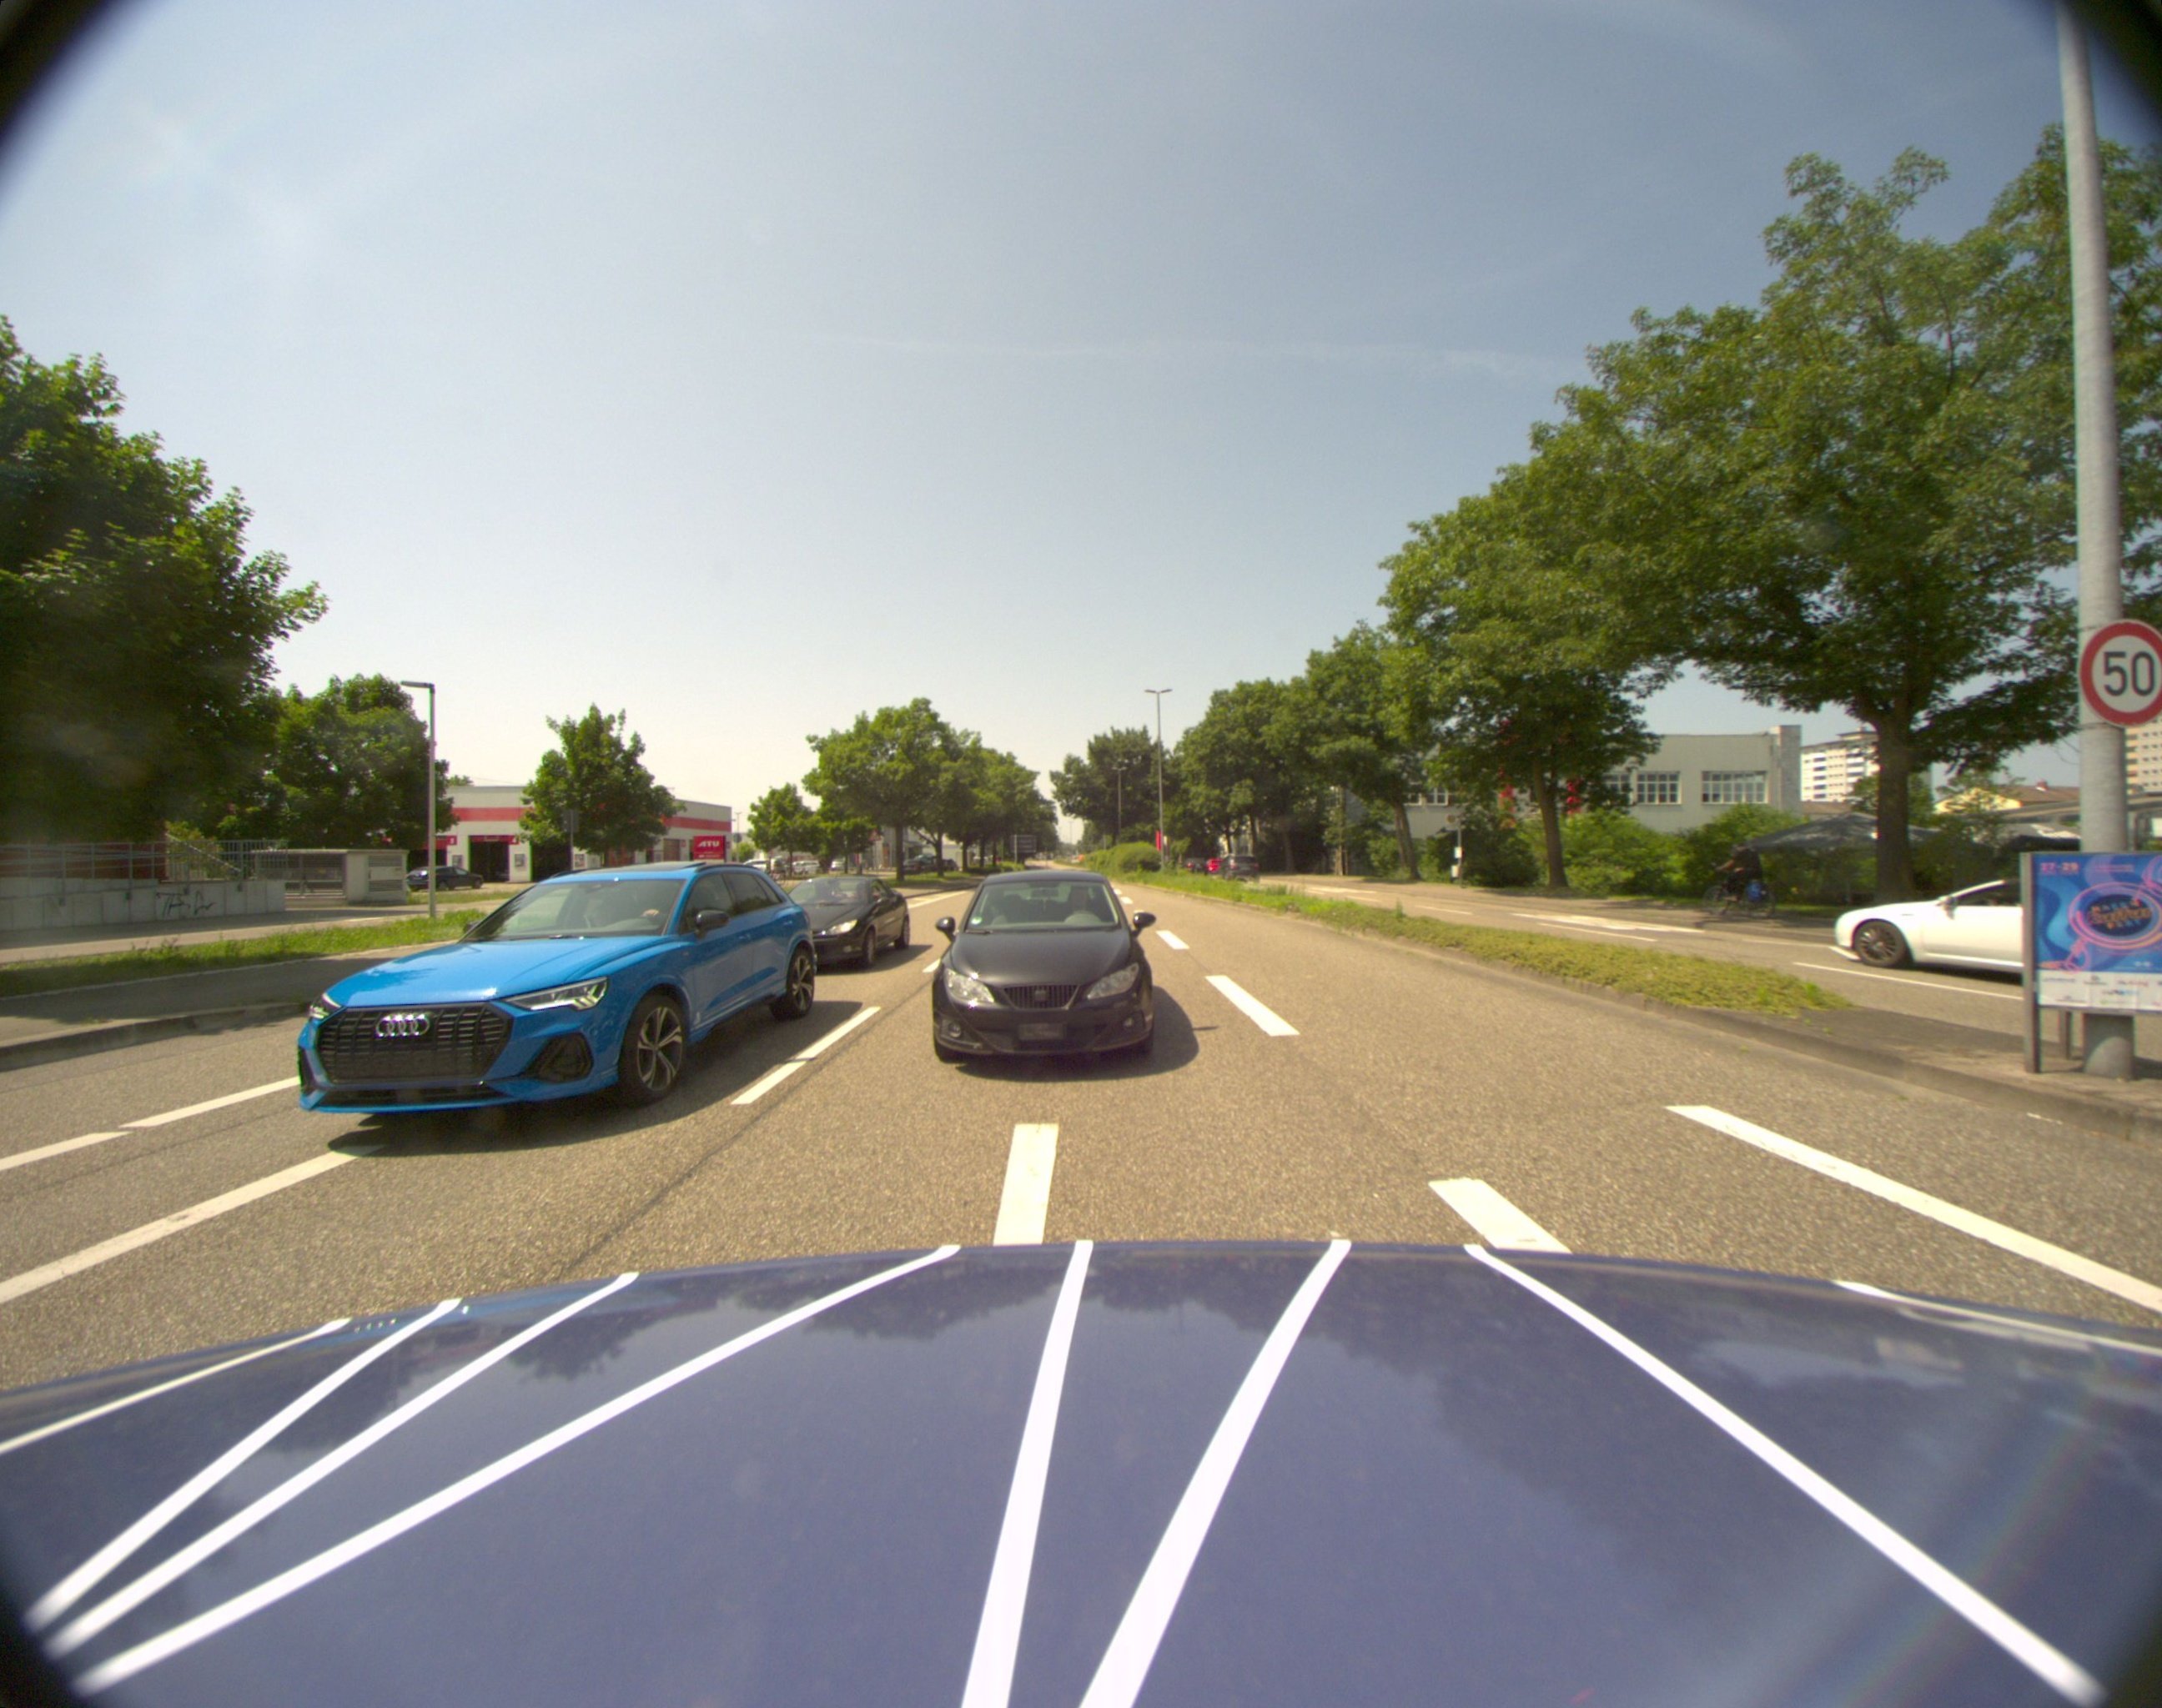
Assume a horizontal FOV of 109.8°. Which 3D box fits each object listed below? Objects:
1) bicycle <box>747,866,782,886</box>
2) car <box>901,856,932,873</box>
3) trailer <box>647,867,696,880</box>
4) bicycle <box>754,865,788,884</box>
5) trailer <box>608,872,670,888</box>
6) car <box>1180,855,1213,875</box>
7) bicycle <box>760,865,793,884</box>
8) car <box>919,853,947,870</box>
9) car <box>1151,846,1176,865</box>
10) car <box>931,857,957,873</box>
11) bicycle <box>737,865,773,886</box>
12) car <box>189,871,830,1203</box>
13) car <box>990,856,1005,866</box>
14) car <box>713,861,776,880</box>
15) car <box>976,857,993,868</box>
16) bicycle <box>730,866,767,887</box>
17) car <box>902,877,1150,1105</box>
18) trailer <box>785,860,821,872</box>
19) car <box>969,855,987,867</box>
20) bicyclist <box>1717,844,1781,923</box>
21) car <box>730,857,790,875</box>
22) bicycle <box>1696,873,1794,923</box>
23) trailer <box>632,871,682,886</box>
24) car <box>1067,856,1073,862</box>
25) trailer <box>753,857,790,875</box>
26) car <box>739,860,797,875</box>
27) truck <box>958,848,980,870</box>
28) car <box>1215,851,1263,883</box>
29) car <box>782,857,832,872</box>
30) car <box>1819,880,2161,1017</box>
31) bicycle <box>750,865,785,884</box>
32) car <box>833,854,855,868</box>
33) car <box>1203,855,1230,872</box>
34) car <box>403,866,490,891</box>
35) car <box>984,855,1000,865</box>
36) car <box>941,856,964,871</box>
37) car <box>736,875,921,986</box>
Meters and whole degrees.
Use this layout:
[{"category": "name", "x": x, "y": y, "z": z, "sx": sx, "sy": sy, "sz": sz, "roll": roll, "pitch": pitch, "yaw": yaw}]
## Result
[{"category": "bicycle", "x": -18.192, "y": 1.236, "z": 43.739, "sx": 1.784, "sy": 1.117, "sz": 0.514, "roll": 0, "pitch": 0, "yaw": -6}, {"category": "car", "x": -13.509, "y": 0.847, "z": 62.717, "sx": 1.642, "sy": 1.363, "sz": 4.000, "roll": 0, "pitch": 0, "yaw": 1}, {"category": "trailer", "x": -24.118, "y": 1.145, "z": 44.775, "sx": 2.137, "sy": 0.757, "sz": 1.394, "roll": -1, "pitch": 0, "yaw": 1}, {"category": "bicycle", "x": -18.377, "y": 1.220, "z": 45.098, "sx": 1.784, "sy": 1.117, "sz": 0.514, "roll": 0, "pitch": 0, "yaw": -6}, {"category": "trailer", "x": -23.956, "y": 1.402, "z": 41.240, "sx": 2.467, "sy": 0.757, "sz": 1.449, "roll": -1, "pitch": 0, "yaw": 1}, {"category": "car", "x": 8.496, "y": 0.788, "z": 56.097, "sx": 1.683, "sy": 1.331, "sz": 3.999, "roll": 2, "pitch": 0, "yaw": -1}, {"category": "bicycle", "x": -18.412, "y": 1.212, "z": 45.929, "sx": 1.784, "sy": 1.117, "sz": 0.514, "roll": 0, "pitch": 0, "yaw": -6}, {"category": "car", "x": -13.423, "y": 0.694, "z": 68.944, "sx": 1.719, "sy": 1.458, "sz": 4.000, "roll": 0, "pitch": 0, "yaw": 1}, {"category": "car", "x": 8.883, "y": 0.129, "z": 82.272, "sx": 1.999, "sy": 1.934, "sz": 4.907, "roll": 2, "pitch": 0, "yaw": -1}, {"category": "car", "x": -13.327, "y": 1.042, "z": 74.118, "sx": 1.719, "sy": 1.511, "sz": 4.000, "roll": 0, "pitch": 0, "yaw": 1}, {"category": "bicycle", "x": -18.464, "y": 1.214, "z": 42.993, "sx": 1.784, "sy": 1.117, "sz": 0.514, "roll": 0, "pitch": 0, "yaw": -6}, {"category": "car", "x": -3.702, "y": 1.004, "z": 6.163, "sx": 1.842, "sy": 1.586, "sz": 4.400, "roll": -1, "pitch": 0, "yaw": 0}, {"category": "car", "x": -13.007, "y": 1.120, "z": 118.452, "sx": 1.719, "sy": 1.458, "sz": 4.000, "roll": 0, "pitch": 0, "yaw": 1}, {"category": "car", "x": -25.501, "y": 1.262, "z": 57.671, "sx": 3.998, "sy": 1.394, "sz": 1.747, "roll": 0, "pitch": 0, "yaw": -2}, {"category": "car", "x": -13.269, "y": 1.222, "z": 104.620, "sx": 1.719, "sy": 1.458, "sz": 4.000, "roll": 0, "pitch": 0, "yaw": 1}, {"category": "bicycle", "x": -18.549, "y": 1.232, "z": 42.367, "sx": 1.784, "sy": 1.117, "sz": 0.514, "roll": 0, "pitch": 0, "yaw": -6}, {"category": "car", "x": -0.380, "y": 0.972, "z": 7.069, "sx": 1.642, "sy": 1.395, "sz": 4.000, "roll": 0, "pitch": 0, "yaw": -1}, {"category": "trailer", "x": -24.496, "y": 1.078, "z": 67.042, "sx": 2.642, "sy": 1.046, "sz": 1.578, "roll": 0, "pitch": 0, "yaw": -2}, {"category": "car", "x": -13.301, "y": 0.911, "z": 97.856, "sx": 1.719, "sy": 1.458, "sz": 4.000, "roll": 0, "pitch": 0, "yaw": 1}, {"category": "bicyclist", "x": 15.405, "y": 0.658, "z": 17.543, "sx": 0.651, "sy": 1.759, "sz": 0.927, "roll": -1, "pitch": 1, "yaw": 0}, {"category": "car", "x": -25.273, "y": 0.956, "z": 59.900, "sx": 3.998, "sy": 1.394, "sz": 1.747, "roll": 0, "pitch": 0, "yaw": -3}, {"category": "bicycle", "x": 15.398, "y": 0.990, "z": 17.694, "sx": 0.656, "sy": 1.045, "sz": 1.884, "roll": -1, "pitch": 0, "yaw": 1}, {"category": "trailer", "x": -24.046, "y": 1.377, "z": 43.133, "sx": 2.137, "sy": 0.757, "sz": 1.267, "roll": -1, "pitch": 0, "yaw": 1}, {"category": "car", "x": -3.409, "y": 1.504, "z": 235.859, "sx": 1.999, "sy": 1.692, "sz": 4.000, "roll": 0, "pitch": 0, "yaw": 0}, {"category": "trailer", "x": -27.202, "y": 1.068, "z": 66.841, "sx": 2.642, "sy": 1.518, "sz": 1.415, "roll": 0, "pitch": 0, "yaw": -2}, {"category": "car", "x": -25.596, "y": 1.073, "z": 62.269, "sx": 3.998, "sy": 1.201, "sz": 1.747, "roll": 0, "pitch": 0, "yaw": -3}, {"category": "truck", "x": -13.536, "y": 0.565, "z": 92.020, "sx": 1.904, "sy": 2.552, "sz": 4.000, "roll": 0, "pitch": 0, "yaw": 2}, {"category": "car", "x": 8.571, "y": 0.688, "z": 41.591, "sx": 1.691, "sy": 1.591, "sz": 3.884, "roll": 2, "pitch": 0, "yaw": -1}, {"category": "car", "x": -25.078, "y": 0.943, "z": 69.617, "sx": 3.998, "sy": 1.293, "sz": 1.689, "roll": 0, "pitch": 0, "yaw": -3}, {"category": "car", "x": 11.849, "y": 1.047, "z": 9.143, "sx": 1.722, "sy": 1.255, "sz": 4.301, "roll": 2, "pitch": 0, "yaw": 0}, {"category": "bicycle", "x": -18.287, "y": 1.200, "z": 44.379, "sx": 1.784, "sy": 1.117, "sz": 0.514, "roll": 0, "pitch": 0, "yaw": -6}, {"category": "car", "x": -27.415, "y": 0.839, "z": 87.990, "sx": 1.759, "sy": 1.586, "sz": 3.997, "roll": 0, "pitch": 0, "yaw": -7}, {"category": "car", "x": 12.111, "y": 0.821, "z": 68.263, "sx": 1.710, "sy": 1.444, "sz": 3.891, "roll": 2, "pitch": 0, "yaw": 0}, {"category": "car", "x": -38.160, "y": 1.457, "z": 45.835, "sx": 1.717, "sy": 1.364, "sz": 4.145, "roll": 0, "pitch": 0, "yaw": 0}, {"category": "car", "x": -13.122, "y": 0.843, "z": 112.124, "sx": 1.719, "sy": 1.458, "sz": 4.000, "roll": 0, "pitch": 0, "yaw": 1}, {"category": "car", "x": -13.554, "y": 1.013, "z": 80.292, "sx": 1.719, "sy": 1.504, "sz": 4.000, "roll": 0, "pitch": 0, "yaw": 1}, {"category": "car", "x": -3.855, "y": 1.104, "z": 12.339, "sx": 1.642, "sy": 1.336, "sz": 4.000, "roll": -3, "pitch": 0, "yaw": 0}]
